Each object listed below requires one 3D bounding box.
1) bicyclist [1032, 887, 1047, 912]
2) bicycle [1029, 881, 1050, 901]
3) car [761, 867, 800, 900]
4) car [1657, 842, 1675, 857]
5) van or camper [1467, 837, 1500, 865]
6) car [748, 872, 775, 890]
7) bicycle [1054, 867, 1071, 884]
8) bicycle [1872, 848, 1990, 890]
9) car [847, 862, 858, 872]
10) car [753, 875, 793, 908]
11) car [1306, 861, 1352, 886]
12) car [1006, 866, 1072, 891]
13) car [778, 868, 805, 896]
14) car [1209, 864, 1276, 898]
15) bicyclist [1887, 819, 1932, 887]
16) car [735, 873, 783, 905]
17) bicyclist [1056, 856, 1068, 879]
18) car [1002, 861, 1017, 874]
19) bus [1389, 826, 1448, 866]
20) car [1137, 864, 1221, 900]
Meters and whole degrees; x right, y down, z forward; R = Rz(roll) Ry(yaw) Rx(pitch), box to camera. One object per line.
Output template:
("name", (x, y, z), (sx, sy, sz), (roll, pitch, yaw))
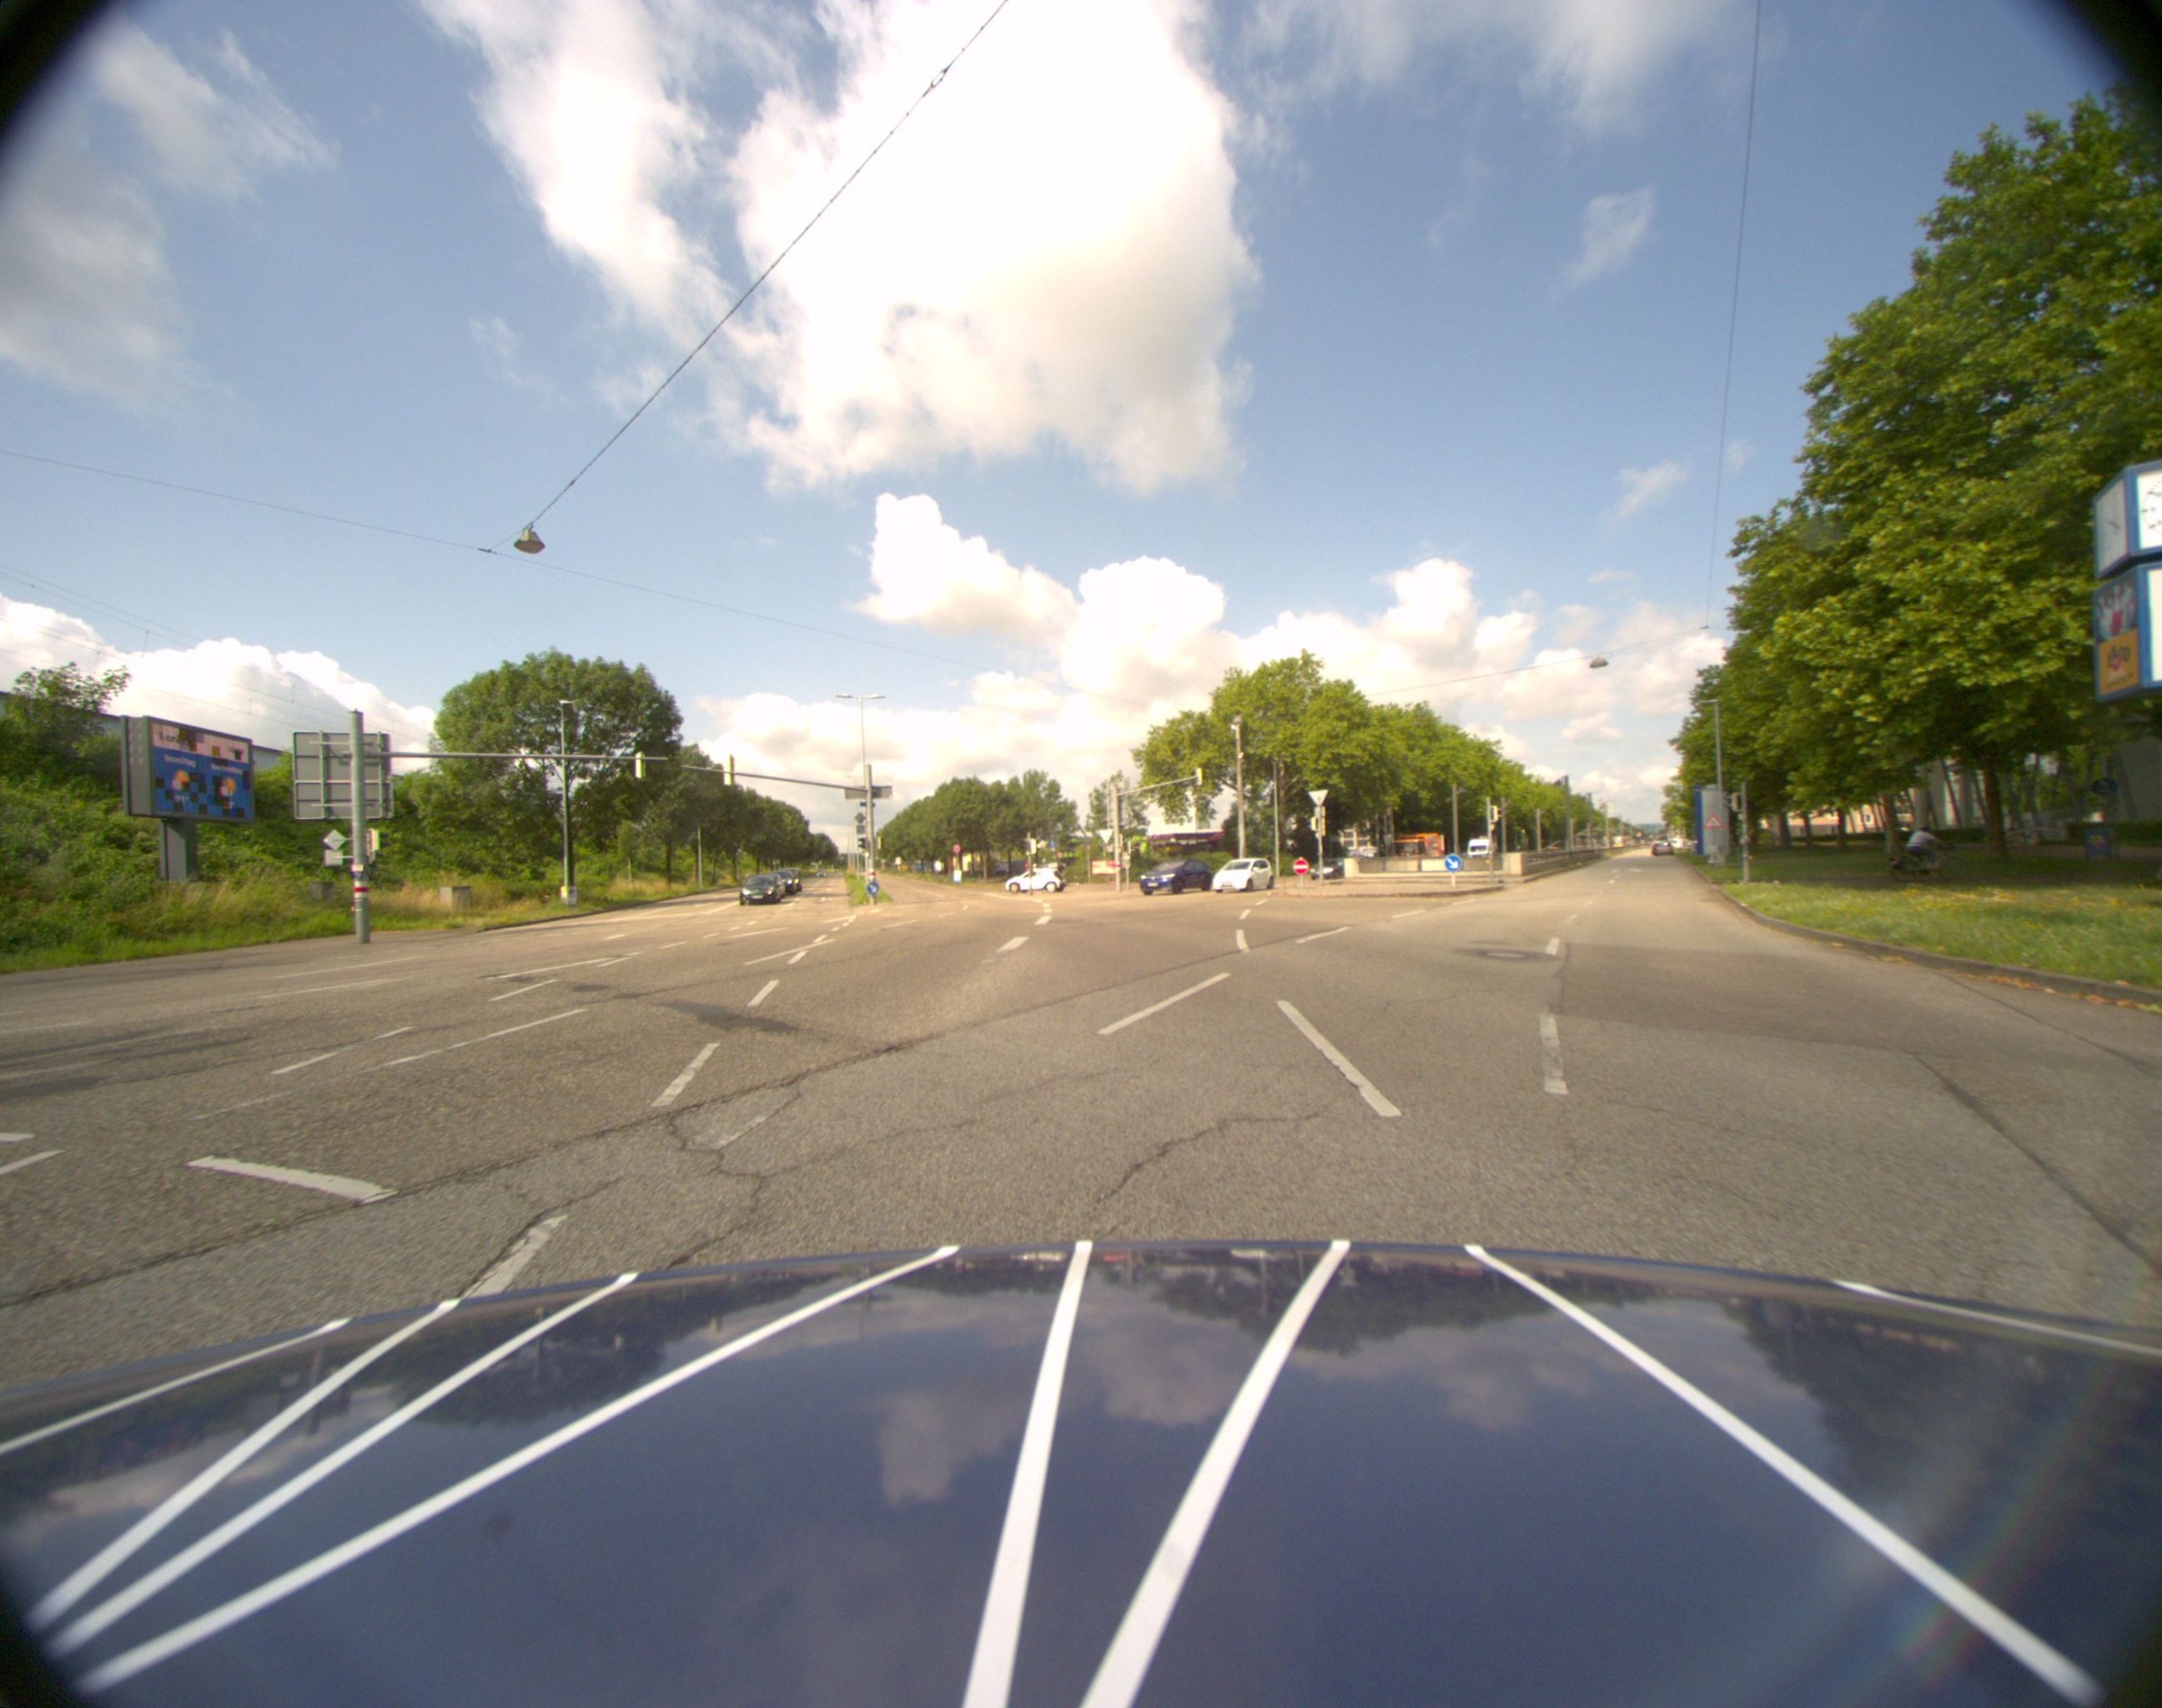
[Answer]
("bicyclist", (-2.897, 3.189, 53.302), (0.678, 1.670, 0.835), (-5, 3, -25))
("bicycle", (-2.931, 2.570, 53.388), (0.678, 1.190, 2.228), (-4, 3, -24))
("car", (-20.301, 1.953, 51.532), (1.821, 1.635, 4.793), (1, 4, -14))
("car", (63.627, -0.536, 82.673), (1.417, 1.448, 3.163), (6, 5, 37))
("van or camper", (43.547, -0.395, 82.142), (2.158, 2.771, 5.977), (4, 4, 36))
("car", (-26.852, 2.242, 63.996), (1.719, 1.477, 3.994), (0, -1, -17))
("bicycle", (-1.364, 1.608, 56.363), (0.792, 1.189, 2.230), (-2, 0, -12))
("bicycle", (26.009, 0.453, 23.313), (2.177, 1.080, 0.888), (-6, -1, 31))
("car", (-36.763, 2.095, 122.184), (1.783, 1.499, 3.994), (0, -1, -17))
("car", (-18.246, 2.192, 45.103), (1.978, 1.739, 4.017), (1, 0, -19))
("car", (17.232, 1.313, 52.632), (1.767, 1.456, 4.007), (-1, 2, 38))
("car", (-2.675, 1.591, 48.576), (3.791, 1.470, 1.753), (-2, -2, 16))
("car", (-21.788, 2.081, 57.323), (1.644, 1.626, 4.196), (1, 5, -17))
("car", (7.445, 1.222, 34.834), (1.733, 1.477, 3.611), (-1, -2, 36))
("bicyclist", (25.655, -0.026, 23.538), (0.729, 1.999, 0.606), (1, -10, 31))
("car", (-16.294, 1.733, 38.582), (1.743, 1.510, 3.824), (0, -1, -15))
("bicyclist", (-1.404, 0.975, 56.619), (0.678, 1.676, 0.754), (-2, 0, -12))
("car", (-9.005, 1.625, 95.295), (1.782, 1.596, 3.997), (0, -1, -8))
("bus", (32.465, -0.915, 72.792), (2.738, 3.447, 10.414), (3, 4, 37))
("car", (4.745, 1.296, 36.236), (1.887, 1.565, 4.590), (-3, -2, 37))
